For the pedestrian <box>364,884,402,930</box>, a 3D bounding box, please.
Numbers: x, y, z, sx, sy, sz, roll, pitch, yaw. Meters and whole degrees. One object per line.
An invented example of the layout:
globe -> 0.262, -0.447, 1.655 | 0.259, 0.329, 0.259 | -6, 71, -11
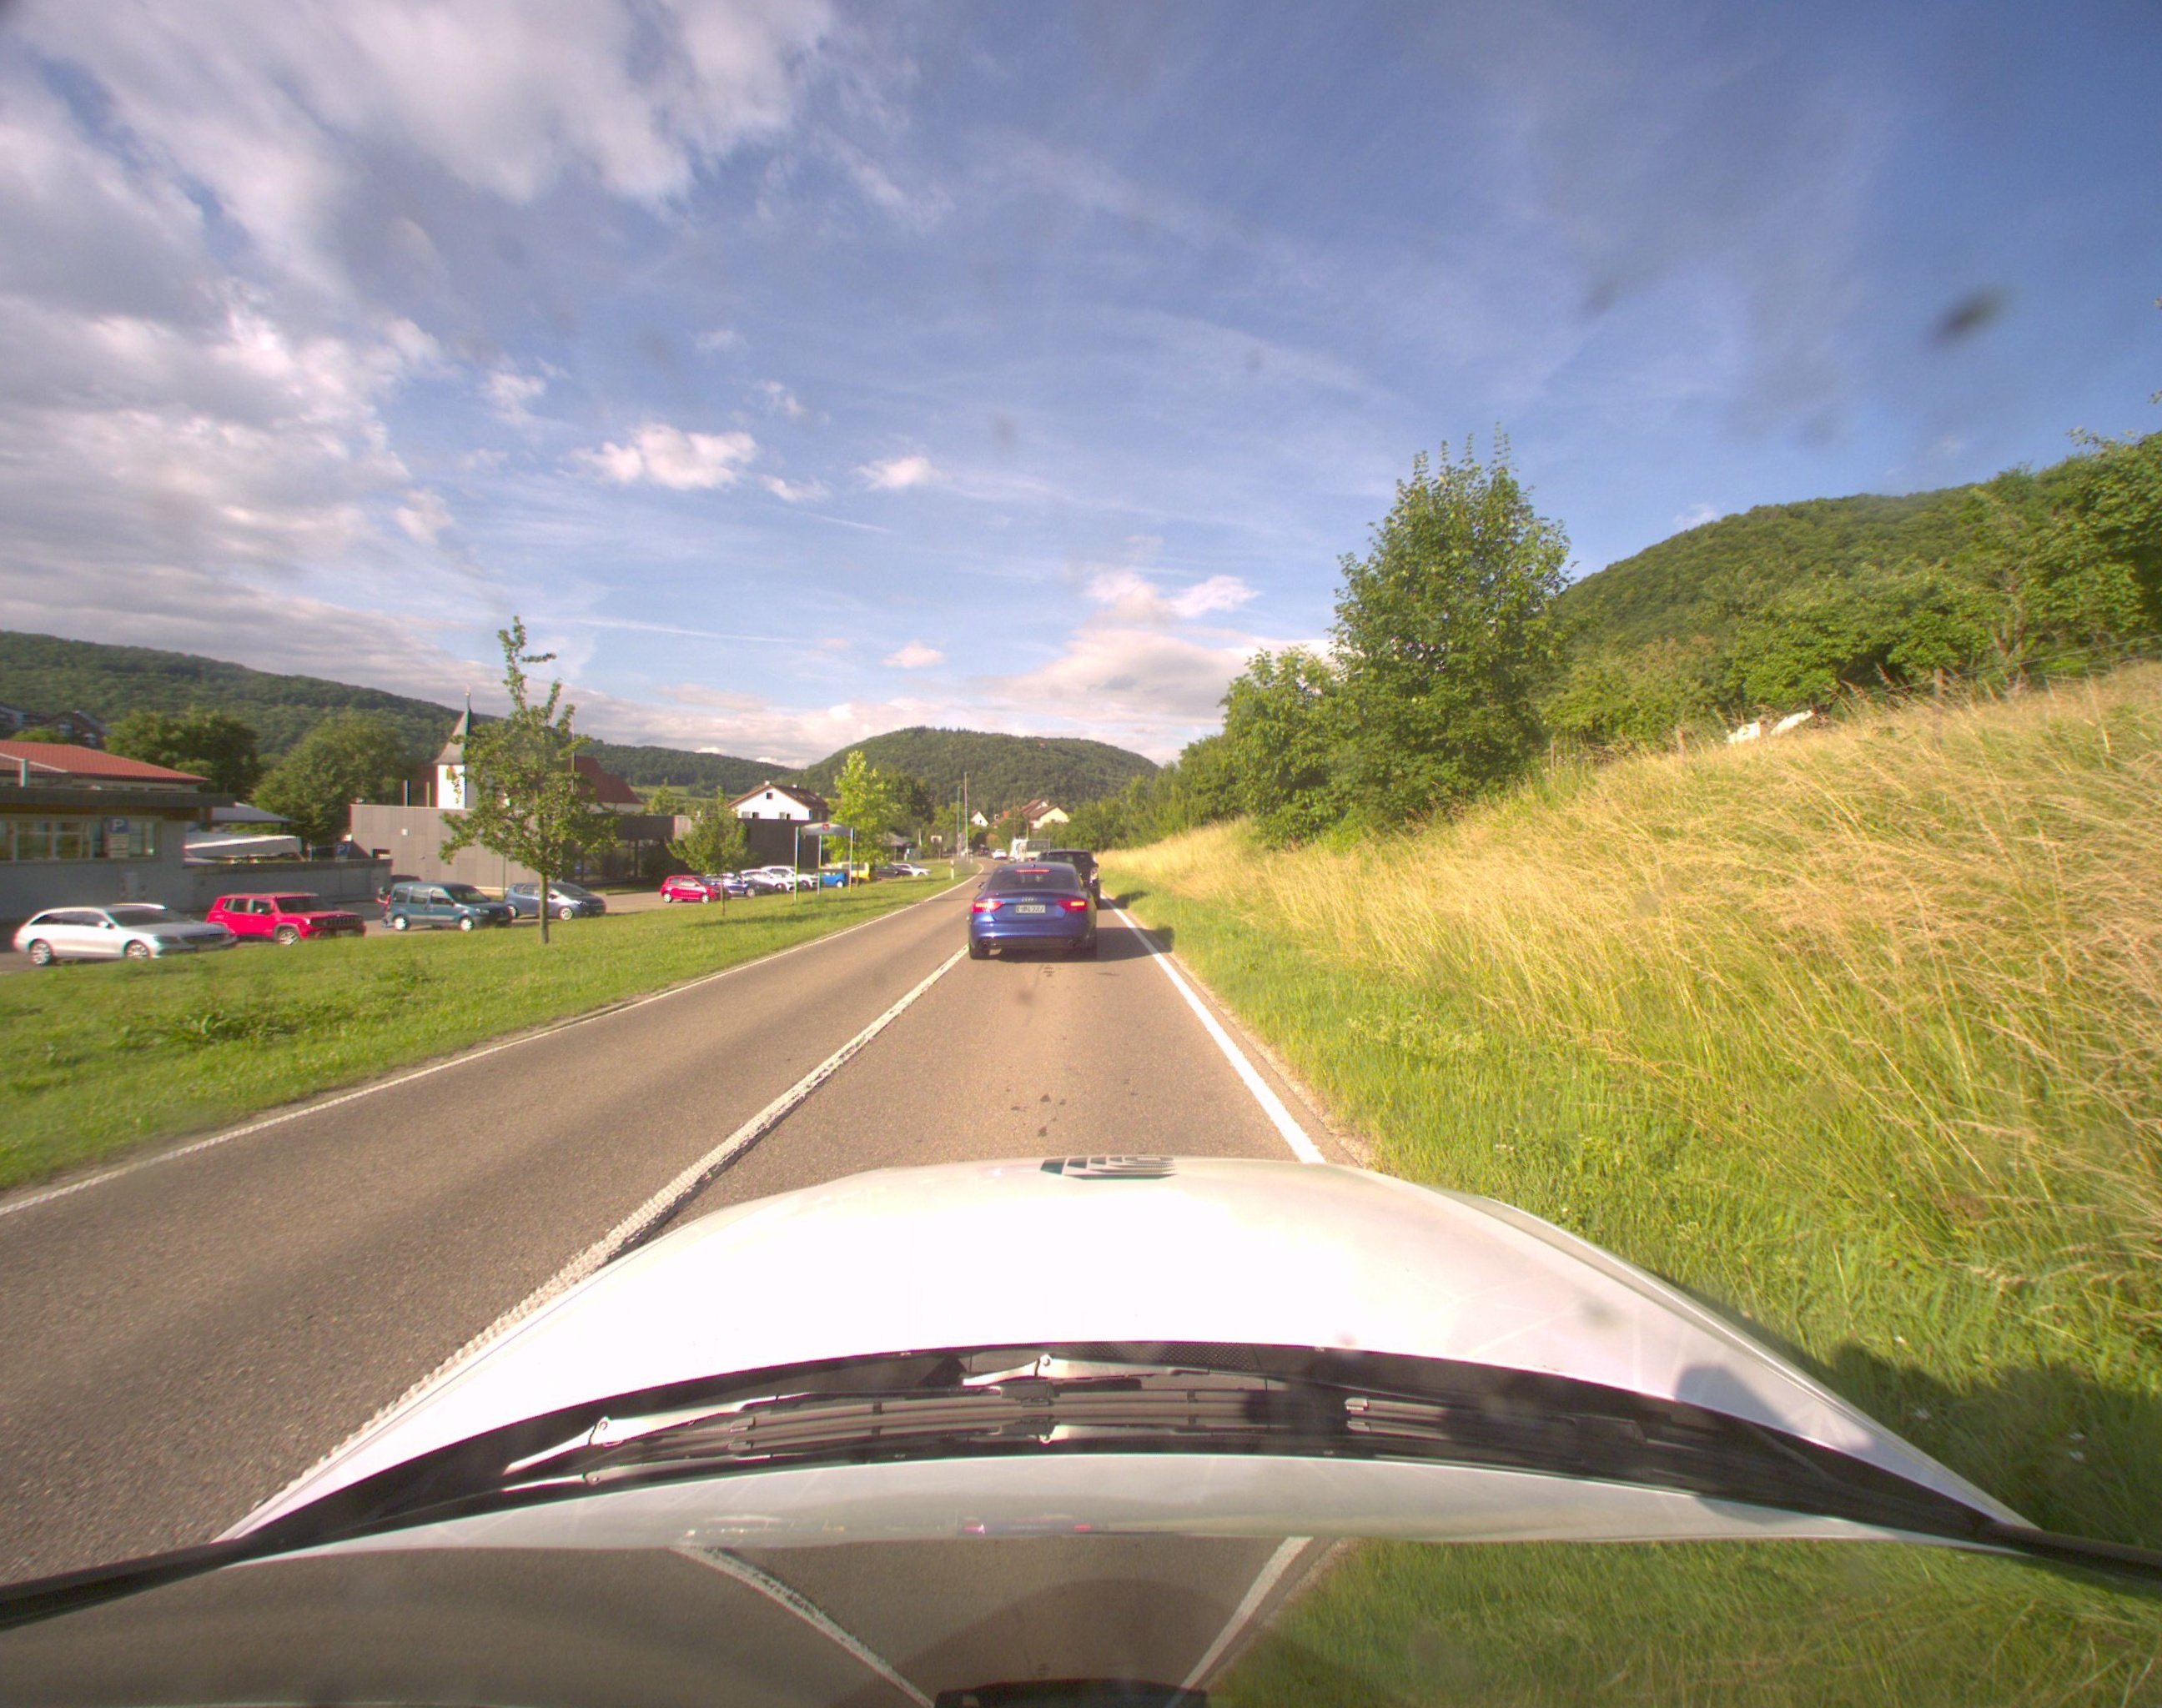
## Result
pedestrian -> -26.580, 2.004, 31.024 | 0.791, 1.693, 0.705 | 0, 0, 1

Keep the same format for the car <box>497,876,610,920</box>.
car -> -22.572, 1.851, 34.924 | 3.797, 1.722, 1.736 | -1, 0, 7

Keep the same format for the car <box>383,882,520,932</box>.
car -> -23.415, 1.959, 30.358 | 3.842, 1.722, 1.759 | -1, 0, 5

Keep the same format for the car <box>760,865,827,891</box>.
car -> -19.933, 1.644, 56.489 | 4.053, 1.673, 1.600 | -2, 0, 8

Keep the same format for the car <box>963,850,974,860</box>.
car -> -22.063, 0.199, 159.885 | 1.680, 1.924, 3.980 | -2, 0, -15

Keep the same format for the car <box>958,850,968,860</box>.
car -> -24.350, 0.166, 167.995 | 1.680, 1.924, 3.978 | -2, 0, -16

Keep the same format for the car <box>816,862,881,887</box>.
car -> -18.509, 1.653, 64.831 | 4.526, 1.815, 1.846 | -2, 0, 8

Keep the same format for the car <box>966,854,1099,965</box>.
car -> -0.653, 0.731, 12.421 | 1.737, 1.450, 3.515 | 0, 0, -1

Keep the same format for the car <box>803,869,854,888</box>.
car -> -19.349, 1.870, 62.498 | 3.357, 1.373, 1.661 | -2, 0, 1

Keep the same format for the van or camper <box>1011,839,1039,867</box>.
van or camper -> -5.852, -0.099, 83.817 | 2.280, 2.713, 5.748 | -2, 0, -9

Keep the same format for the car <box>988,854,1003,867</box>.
car -> -12.814, 1.022, 122.411 | 1.662, 1.924, 3.981 | -2, 0, -14

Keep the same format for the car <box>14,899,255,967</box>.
car -> -25.432, 2.100, 21.974 | 4.615, 1.589, 2.004 | -1, 0, 7

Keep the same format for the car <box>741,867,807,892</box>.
car -> -20.044, 1.636, 53.218 | 3.645, 1.494, 1.600 | -2, 0, 8

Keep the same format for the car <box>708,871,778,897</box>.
car -> -20.752, 1.837, 50.071 | 3.603, 1.405, 1.600 | -2, 0, 8

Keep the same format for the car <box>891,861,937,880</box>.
car -> -16.228, 1.585, 79.383 | 4.012, 1.660, 1.660 | -2, 0, 8

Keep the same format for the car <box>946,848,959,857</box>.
car -> -28.383, -0.320, 179.990 | 1.962, 1.924, 3.972 | -2, 0, -20

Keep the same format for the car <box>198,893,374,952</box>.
car -> -24.146, 2.068, 24.805 | 3.898, 1.579, 1.760 | -1, 0, 7

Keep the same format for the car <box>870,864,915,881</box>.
car -> -17.342, 1.709, 75.093 | 3.690, 1.439, 1.513 | -2, 0, 8

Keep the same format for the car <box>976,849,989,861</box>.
car -> -17.214, 0.156, 142.284 | 1.680, 1.924, 3.980 | -2, 0, -15

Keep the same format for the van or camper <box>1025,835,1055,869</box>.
van or camper -> -3.298, -0.132, 64.116 | 2.049, 2.505, 5.799 | -2, 0, -6

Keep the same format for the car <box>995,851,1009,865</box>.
car -> -11.157, 0.542, 114.909 | 1.659, 1.924, 3.988 | -2, 0, -9

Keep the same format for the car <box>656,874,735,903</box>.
car -> -21.272, 1.877, 44.964 | 3.603, 1.444, 1.652 | -2, 0, 8

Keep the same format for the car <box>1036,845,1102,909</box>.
car -> -0.396, 0.579, 22.395 | 1.642, 1.625, 3.512 | 0, 0, -3
